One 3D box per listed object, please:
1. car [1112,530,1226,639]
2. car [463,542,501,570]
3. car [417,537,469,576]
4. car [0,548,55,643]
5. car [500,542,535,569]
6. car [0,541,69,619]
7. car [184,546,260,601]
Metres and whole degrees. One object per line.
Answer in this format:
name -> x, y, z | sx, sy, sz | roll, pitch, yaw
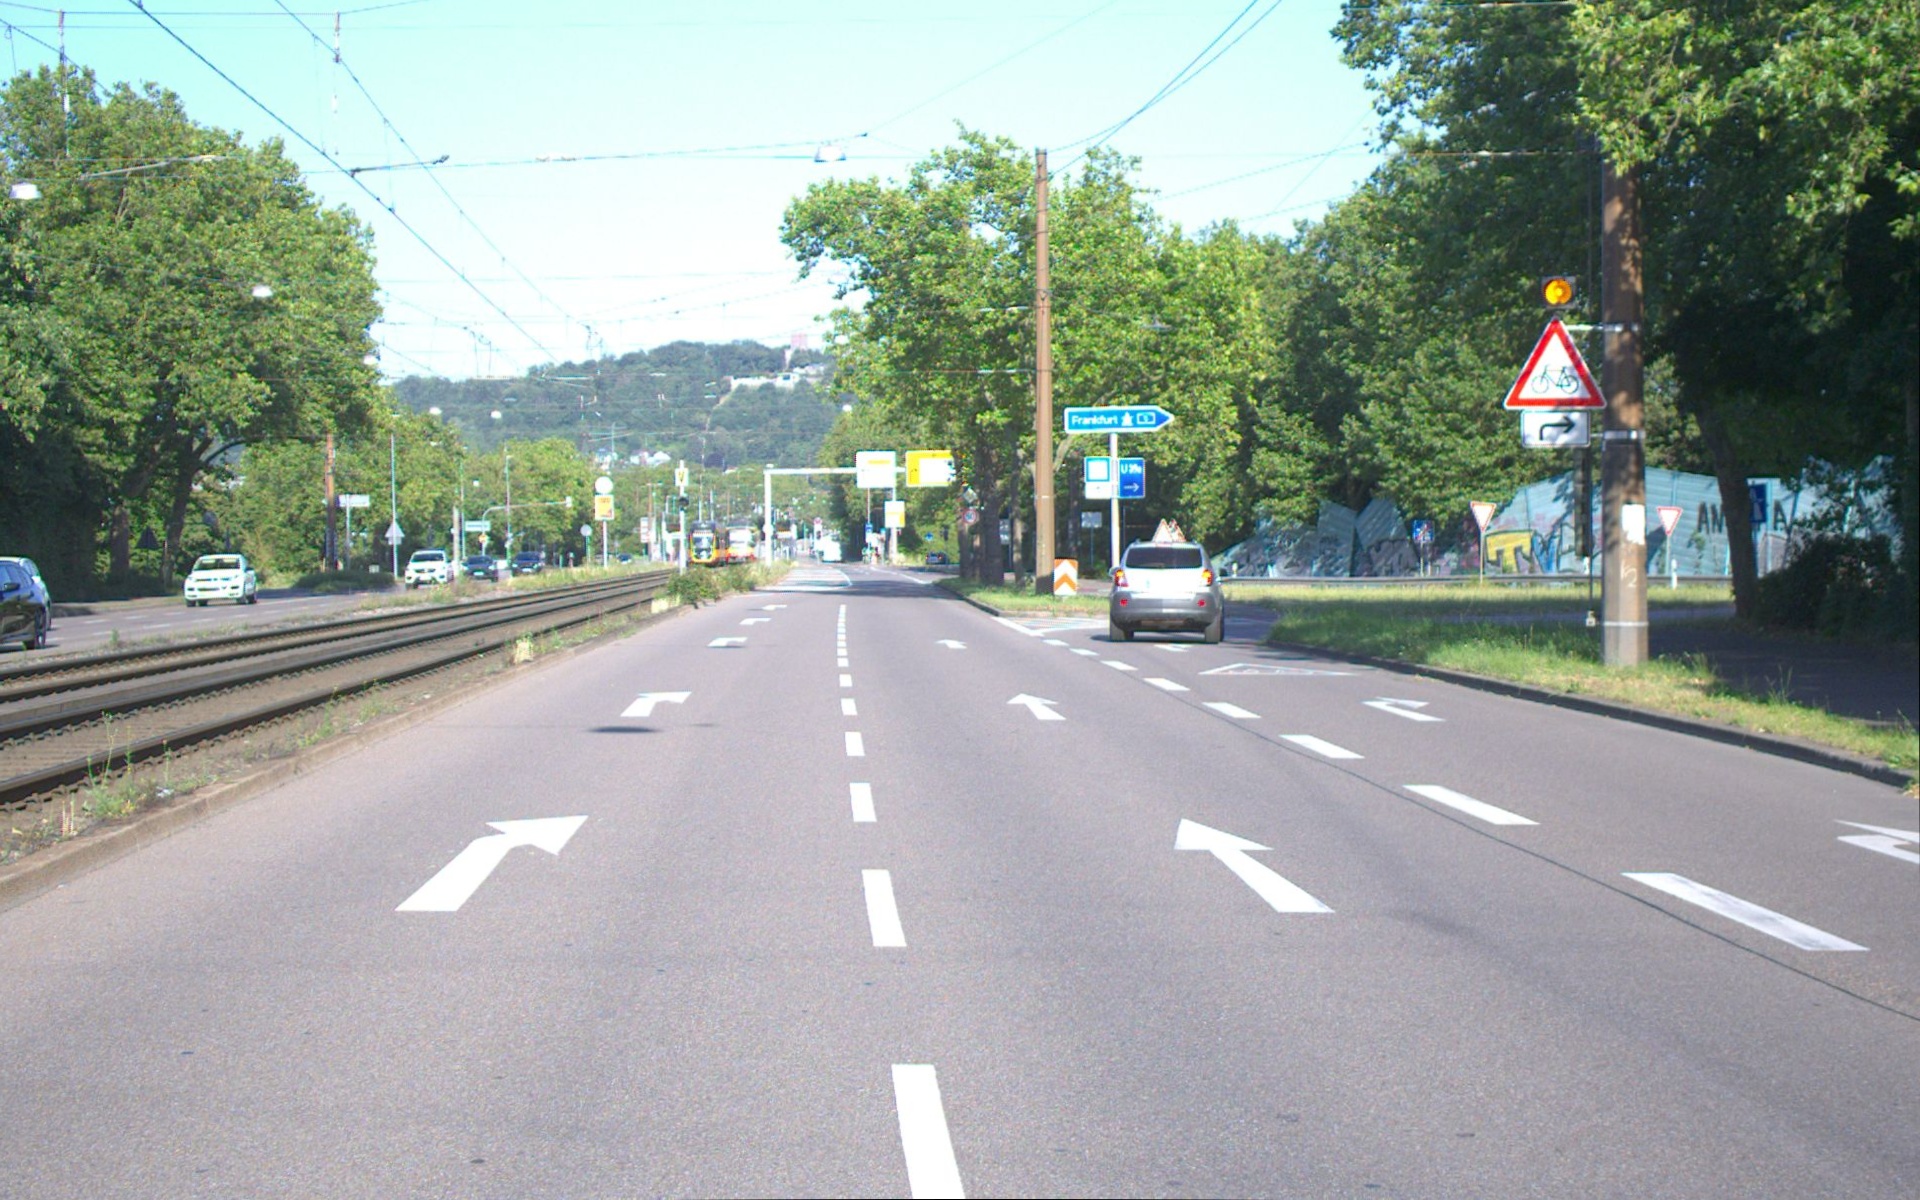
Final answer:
car -> 3.506, -0.277, 58.209 | 1.809, 1.767, 3.862 | 1, 1, 2
car -> -26.484, -2.464, 190.656 | 1.710, 1.463, 4.348 | -3, 1, -4
car -> -23.812, -2.014, 158.558 | 1.962, 1.701, 4.945 | -2, 1, -4
car -> -15.382, -0.053, 53.136 | 1.657, 1.428, 4.502 | -2, 1, -2
car -> -28.677, -2.872, 222.760 | 1.898, 1.688, 4.942 | -2, 1, -4
car -> -19.925, -0.410, 71.648 | 1.691, 1.550, 4.191 | -2, 1, -2
car -> -24.717, -0.890, 115.292 | 1.846, 1.728, 4.933 | -3, 1, -5
